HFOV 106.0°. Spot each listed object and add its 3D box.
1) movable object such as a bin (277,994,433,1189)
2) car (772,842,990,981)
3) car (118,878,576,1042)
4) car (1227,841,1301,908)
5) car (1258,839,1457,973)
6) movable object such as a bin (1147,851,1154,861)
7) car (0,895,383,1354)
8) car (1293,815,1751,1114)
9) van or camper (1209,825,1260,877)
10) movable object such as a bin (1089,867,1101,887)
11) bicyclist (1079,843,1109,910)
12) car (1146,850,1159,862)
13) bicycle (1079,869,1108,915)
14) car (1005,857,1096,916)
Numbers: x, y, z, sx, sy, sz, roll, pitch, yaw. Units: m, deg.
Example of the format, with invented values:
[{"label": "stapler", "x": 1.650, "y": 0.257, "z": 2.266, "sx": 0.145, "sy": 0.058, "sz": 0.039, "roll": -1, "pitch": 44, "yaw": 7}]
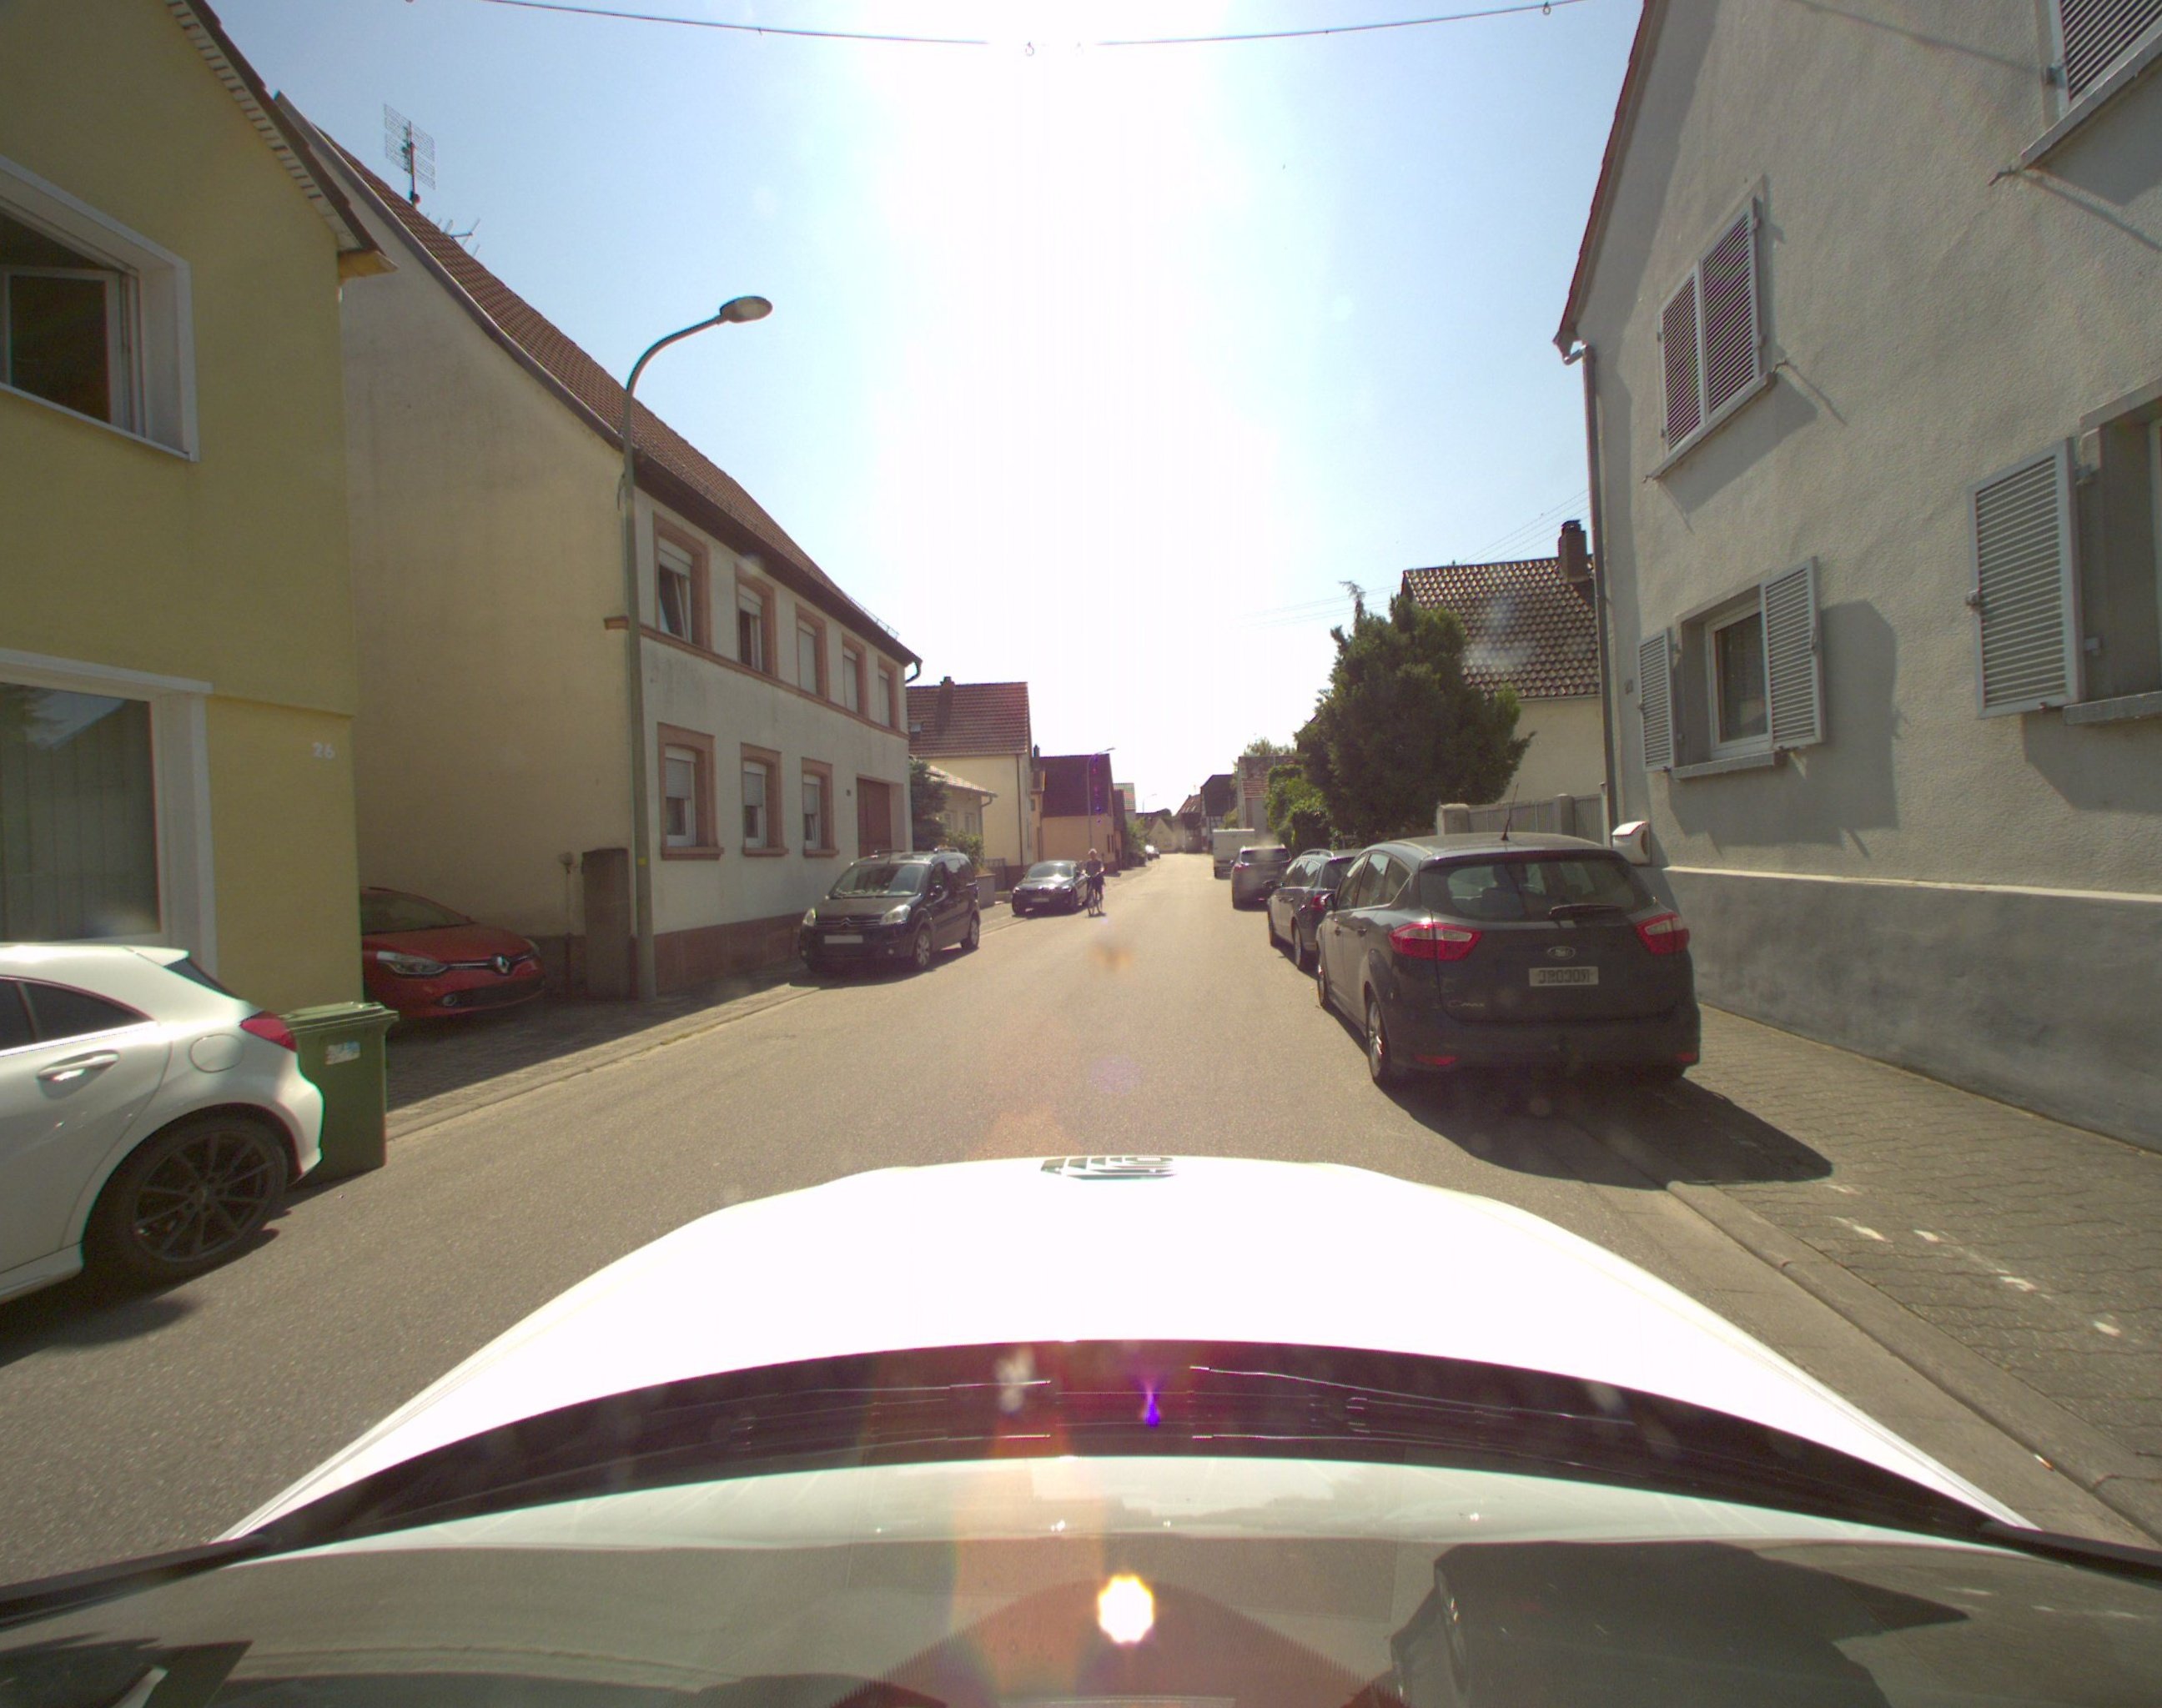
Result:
[{"label": "movable object such as a bin", "x": -4.008, "y": 1.276, "z": 4.512, "sx": 0.421, "sy": 0.905, "sz": 0.499, "roll": -2, "pitch": 0, "yaw": 26}, {"label": "car", "x": -3.003, "y": 0.792, "z": 13.302, "sx": 1.824, "sy": 1.837, "sz": 4.364, "roll": -3, "pitch": 0, "yaw": 9}, {"label": "car", "x": -7.725, "y": 1.081, "z": 8.721, "sx": 3.722, "sy": 1.458, "sz": 1.680, "roll": -2, "pitch": 0, "yaw": 11}, {"label": "car", "x": 5.117, "y": 0.509, "z": 22.972, "sx": 1.782, "sy": 1.631, "sz": 4.375, "roll": -3, "pitch": 0, "yaw": 12}, {"label": "car", "x": 3.759, "y": 0.612, "z": 11.913, "sx": 1.810, "sy": 1.508, "sz": 4.591, "roll": -3, "pitch": 0, "yaw": 7}, {"label": "movable object such as a bin", "x": 8.364, "y": 0.227, "z": 98.183, "sx": 0.685, "sy": 1.185, "sz": 0.716, "roll": -3, "pitch": 0, "yaw": 8}, {"label": "car", "x": -4.629, "y": 0.995, "z": 2.010, "sx": 1.826, "sy": 1.464, "sz": 4.277, "roll": -3, "pitch": 0, "yaw": 5}, {"label": "car", "x": 2.932, "y": 0.604, "z": 6.665, "sx": 1.787, "sy": 1.560, "sz": 4.643, "roll": -3, "pitch": 0, "yaw": 9}, {"label": "van or camper", "x": 8.693, "y": -0.178, "z": 46.617, "sx": 2.508, "sy": 2.697, "sz": 4.565, "roll": -3, "pitch": 0, "yaw": 7}, {"label": "movable object such as a bin", "x": 0.689, "y": 1.129, "z": 39.996, "sx": 0.536, "sy": 0.949, "sz": 0.554, "roll": -2, "pitch": 0, "yaw": 8}, {"label": "bicyclist", "x": 0.363, "y": 0.599, "z": 22.353, "sx": 0.700, "sy": 1.771, "sz": 0.625, "roll": -3, "pitch": 0, "yaw": 4}, {"label": "car", "x": 9.709, "y": 0.293, "z": 110.508, "sx": 1.503, "sy": 1.436, "sz": 3.519, "roll": -4, "pitch": 0, "yaw": 8}, {"label": "bicycle", "x": 0.370, "y": 1.027, "z": 22.484, "sx": 0.586, "sy": 1.148, "sz": 1.951, "roll": -3, "pitch": 0, "yaw": 5}, {"label": "car", "x": -0.798, "y": 0.907, "z": 24.899, "sx": 1.833, "sy": 1.526, "sz": 4.777, "roll": -2, "pitch": 0, "yaw": 9}]
